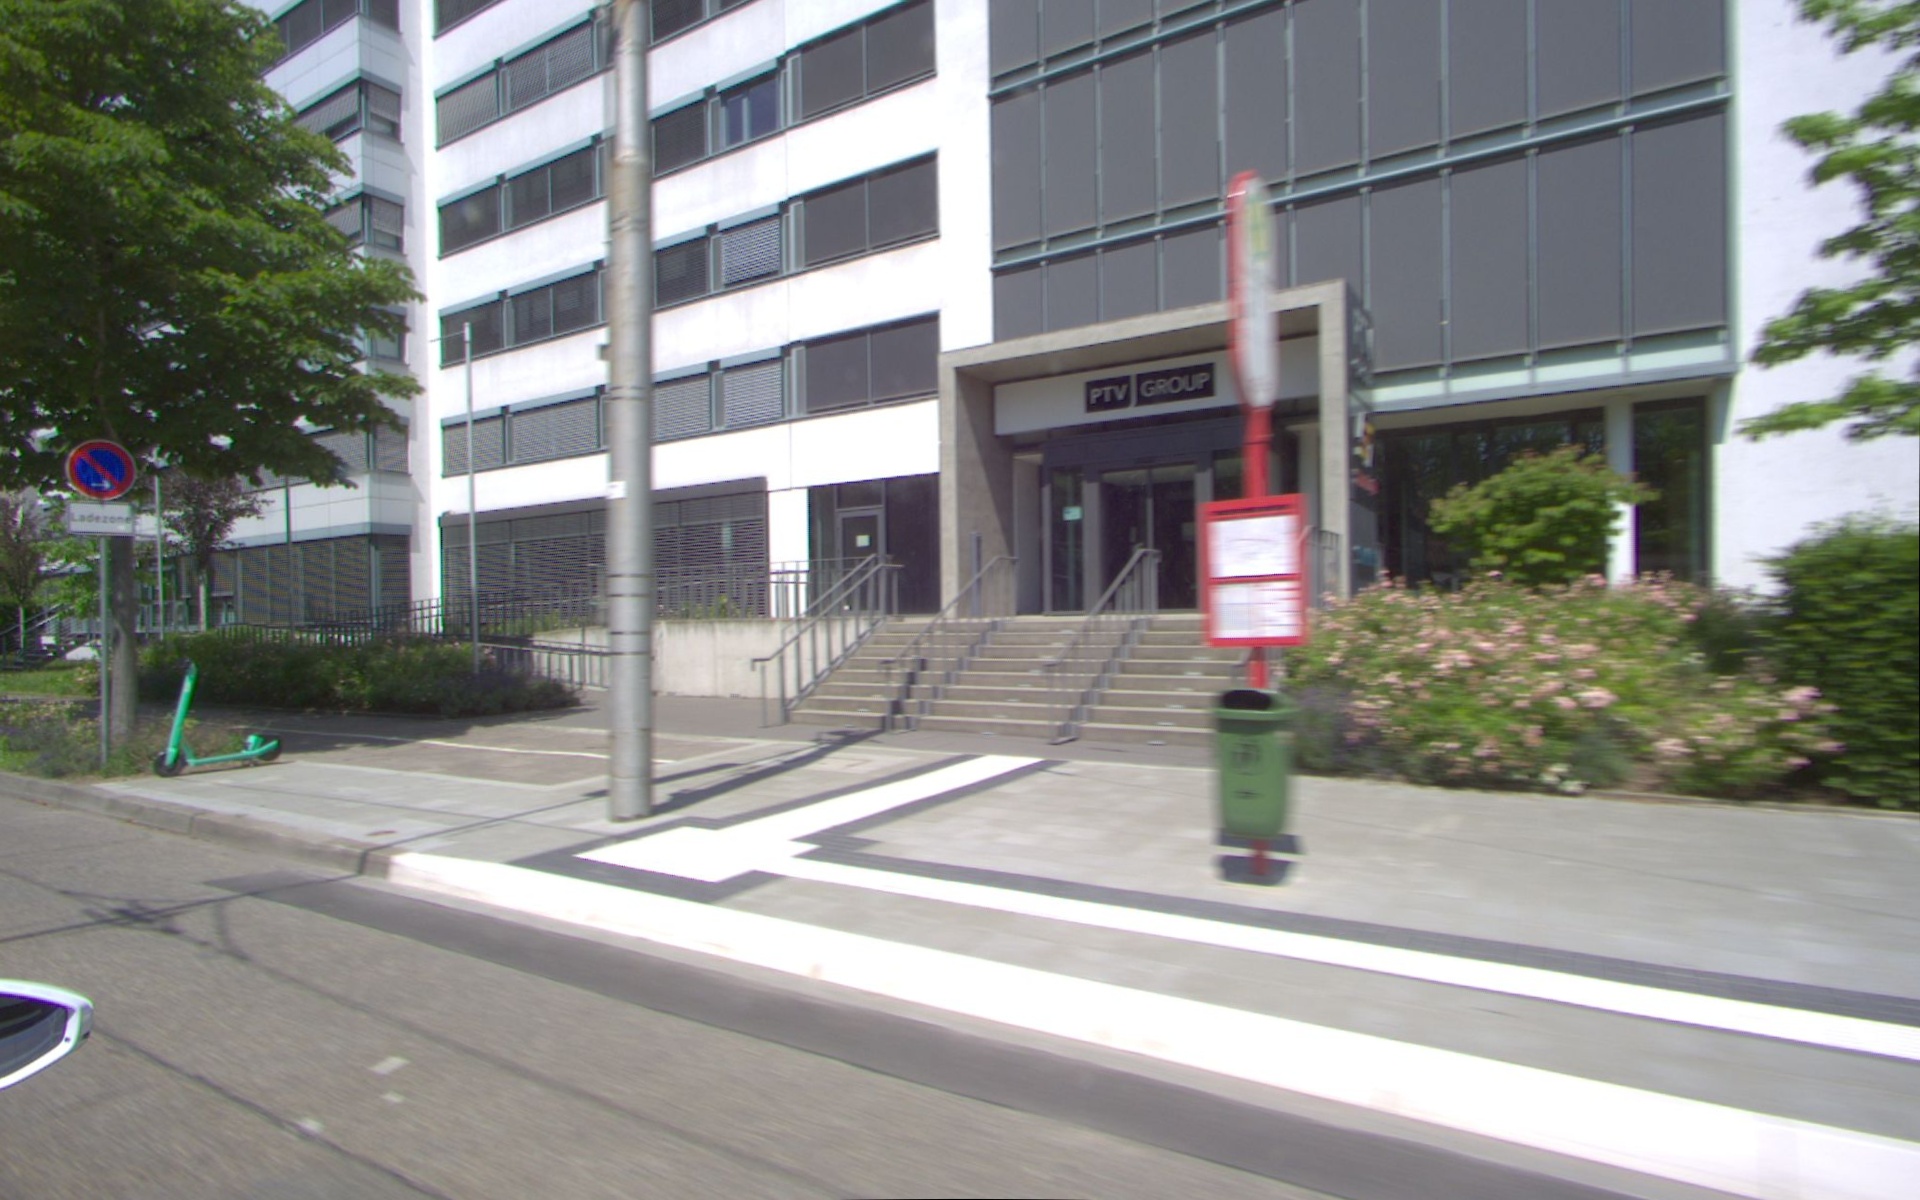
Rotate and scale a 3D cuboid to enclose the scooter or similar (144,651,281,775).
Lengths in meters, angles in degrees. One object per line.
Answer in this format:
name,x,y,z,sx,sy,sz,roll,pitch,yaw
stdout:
scooter or similar,-7.790,1.151,10.469,0.365,1.171,1.056,-1,1,32
